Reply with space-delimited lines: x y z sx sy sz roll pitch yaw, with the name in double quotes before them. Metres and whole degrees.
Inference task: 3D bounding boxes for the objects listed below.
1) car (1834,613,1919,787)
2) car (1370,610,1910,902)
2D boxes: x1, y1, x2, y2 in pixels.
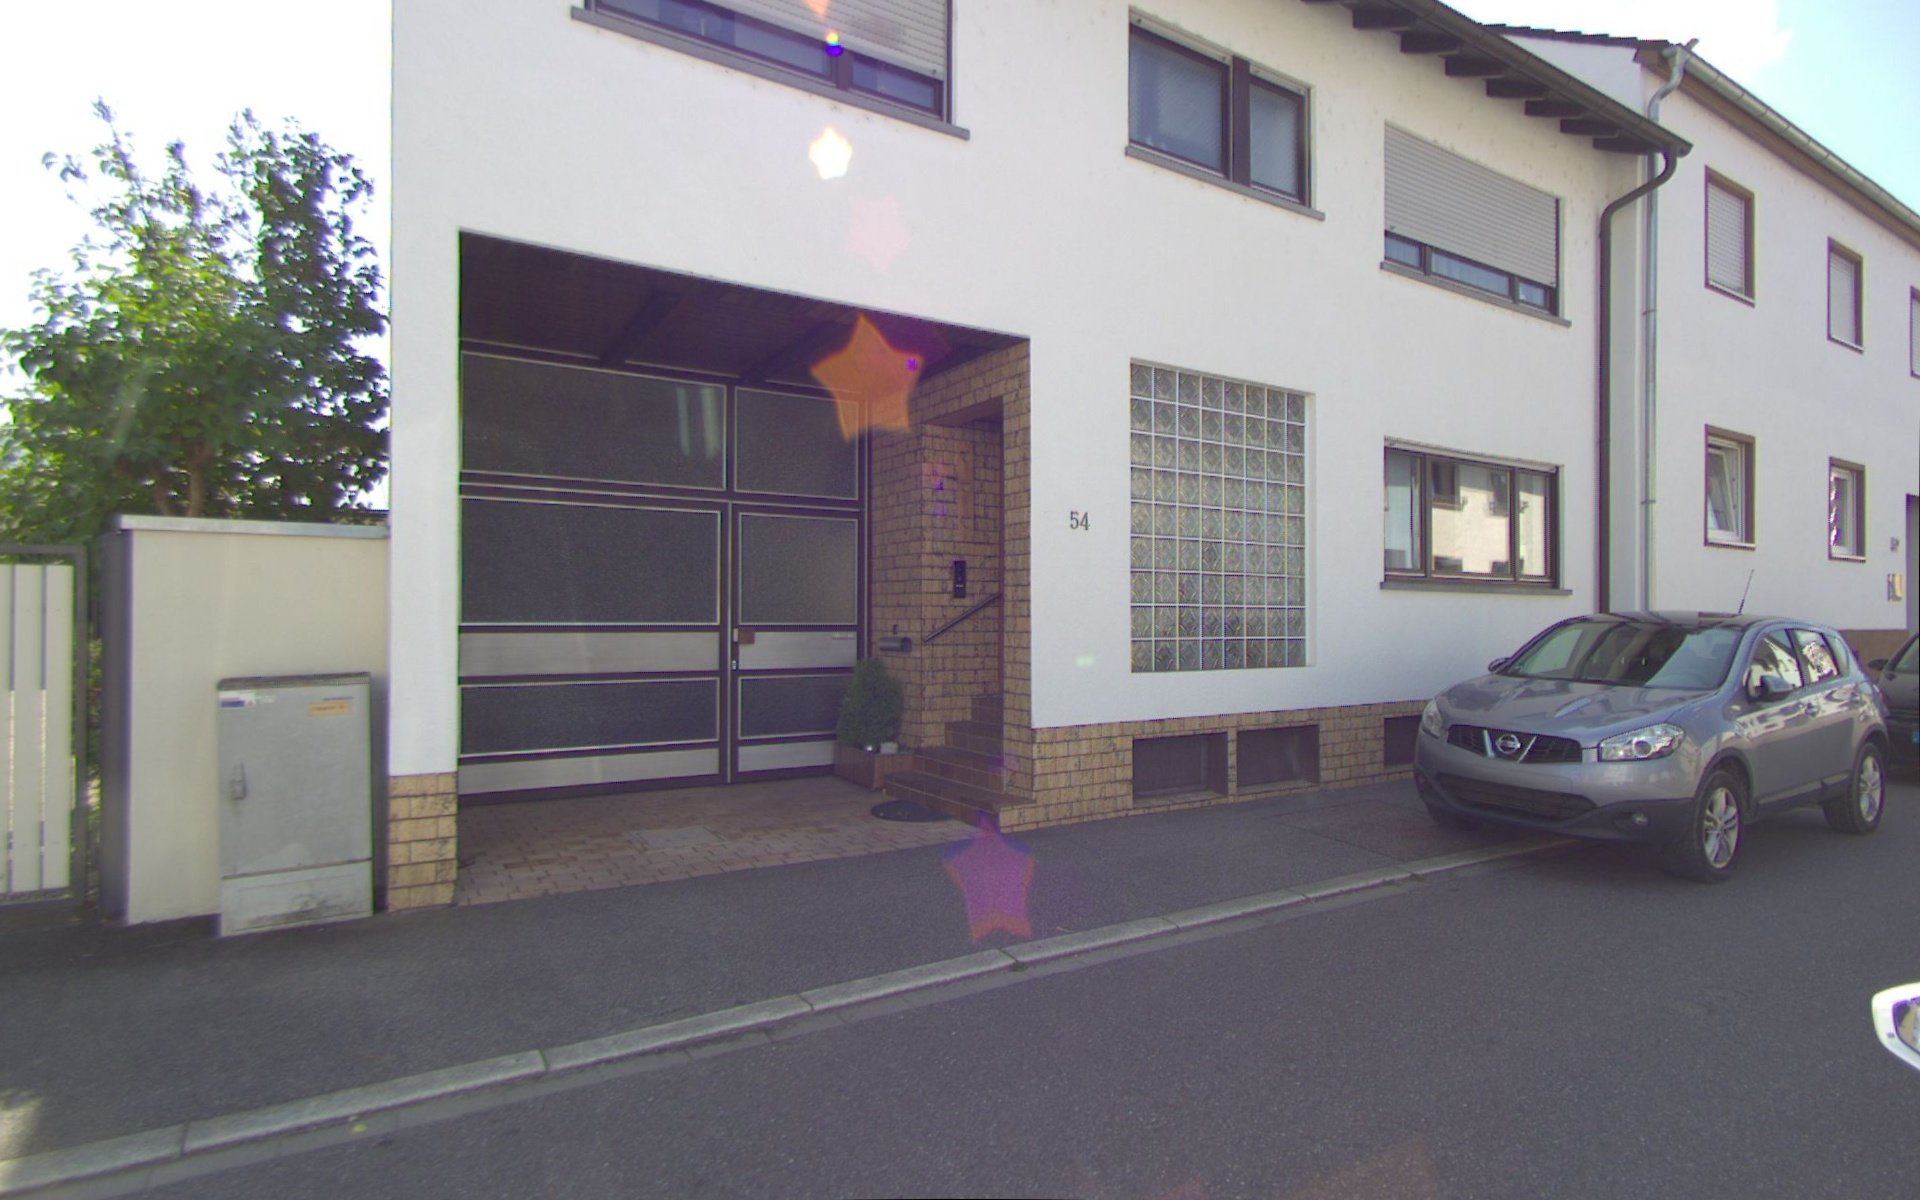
"car" 10.769 0.956 10.353 4.017 1.630 1.644 1 -1 -33
"car" 5.019 0.866 7.246 4.243 1.545 1.748 1 -1 -33
